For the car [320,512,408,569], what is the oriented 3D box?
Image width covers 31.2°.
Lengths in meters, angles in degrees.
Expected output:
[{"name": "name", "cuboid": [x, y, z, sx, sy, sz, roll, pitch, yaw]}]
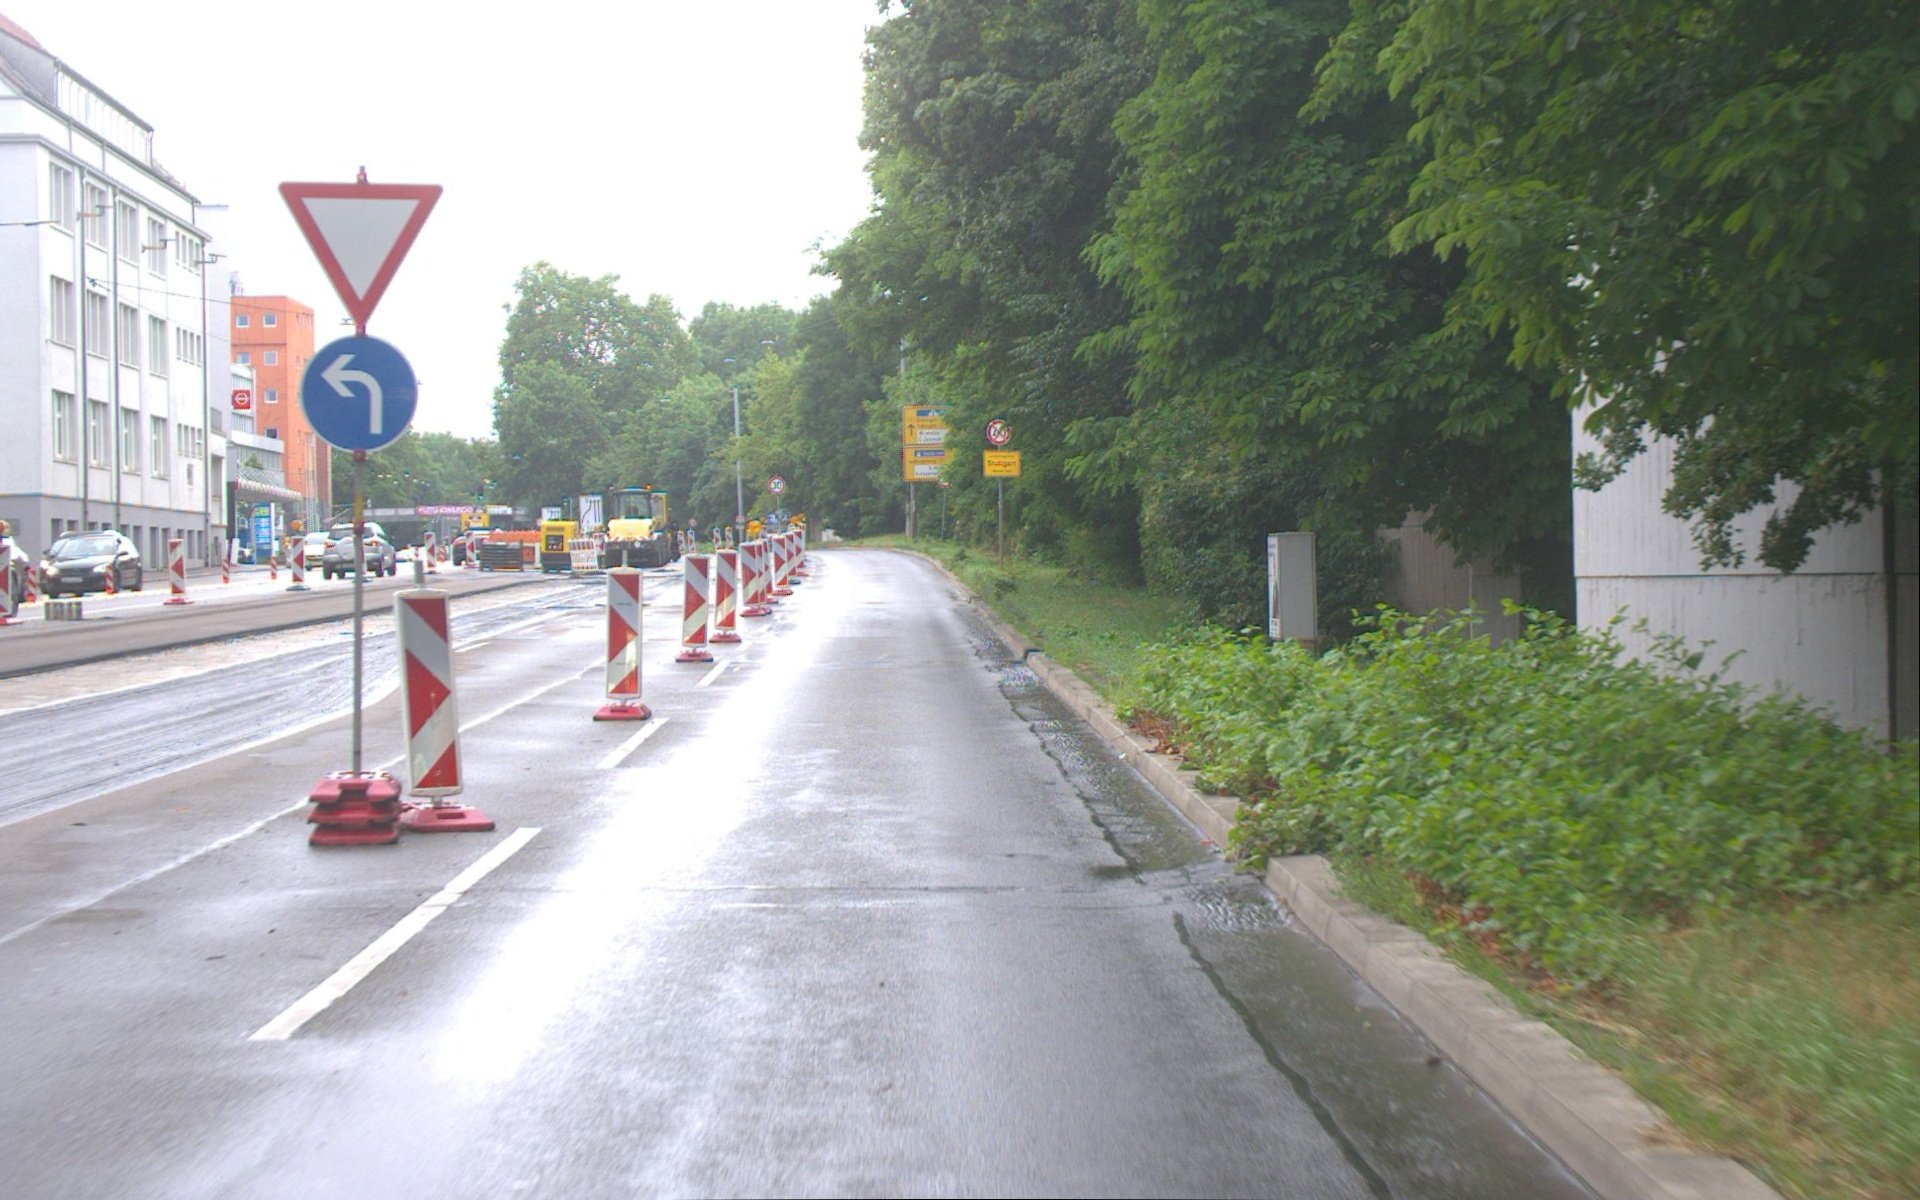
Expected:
[{"name": "car", "cuboid": [-17.708, -1.776, 102.330, 1.892, 1.644, 4.396, 0, 1, -1]}]

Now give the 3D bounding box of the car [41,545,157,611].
[{"name": "car", "cuboid": [-20.649, -0.551, 82.583, 1.859, 1.470, 3.732, -3, 1, -1]}]

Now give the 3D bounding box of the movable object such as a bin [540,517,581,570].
[{"name": "movable object such as a bin", "cuboid": [-12.626, -1.787, 108.754, 1.083, 1.639, 2.439, -1, 1, -2]}]

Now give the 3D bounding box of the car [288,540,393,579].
[{"name": "car", "cuboid": [-24.122, -1.567, 133.938, 1.557, 1.363, 3.795, -1, 2, 45]}]

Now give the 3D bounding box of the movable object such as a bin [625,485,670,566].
[{"name": "movable object such as a bin", "cuboid": [-12.050, -2.888, 132.775, 1.465, 2.998, 3.725, -3, 1, -3]}]

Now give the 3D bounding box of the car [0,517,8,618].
[{"name": "car", "cuboid": [-16.573, -0.496, 54.266, 1.892, 1.644, 4.396, 0, 1, -1]}]

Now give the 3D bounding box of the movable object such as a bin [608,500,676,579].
[{"name": "movable object such as a bin", "cuboid": [-10.826, -2.072, 117.376, 1.902, 2.600, 5.383, -1, 1, -2]}]
